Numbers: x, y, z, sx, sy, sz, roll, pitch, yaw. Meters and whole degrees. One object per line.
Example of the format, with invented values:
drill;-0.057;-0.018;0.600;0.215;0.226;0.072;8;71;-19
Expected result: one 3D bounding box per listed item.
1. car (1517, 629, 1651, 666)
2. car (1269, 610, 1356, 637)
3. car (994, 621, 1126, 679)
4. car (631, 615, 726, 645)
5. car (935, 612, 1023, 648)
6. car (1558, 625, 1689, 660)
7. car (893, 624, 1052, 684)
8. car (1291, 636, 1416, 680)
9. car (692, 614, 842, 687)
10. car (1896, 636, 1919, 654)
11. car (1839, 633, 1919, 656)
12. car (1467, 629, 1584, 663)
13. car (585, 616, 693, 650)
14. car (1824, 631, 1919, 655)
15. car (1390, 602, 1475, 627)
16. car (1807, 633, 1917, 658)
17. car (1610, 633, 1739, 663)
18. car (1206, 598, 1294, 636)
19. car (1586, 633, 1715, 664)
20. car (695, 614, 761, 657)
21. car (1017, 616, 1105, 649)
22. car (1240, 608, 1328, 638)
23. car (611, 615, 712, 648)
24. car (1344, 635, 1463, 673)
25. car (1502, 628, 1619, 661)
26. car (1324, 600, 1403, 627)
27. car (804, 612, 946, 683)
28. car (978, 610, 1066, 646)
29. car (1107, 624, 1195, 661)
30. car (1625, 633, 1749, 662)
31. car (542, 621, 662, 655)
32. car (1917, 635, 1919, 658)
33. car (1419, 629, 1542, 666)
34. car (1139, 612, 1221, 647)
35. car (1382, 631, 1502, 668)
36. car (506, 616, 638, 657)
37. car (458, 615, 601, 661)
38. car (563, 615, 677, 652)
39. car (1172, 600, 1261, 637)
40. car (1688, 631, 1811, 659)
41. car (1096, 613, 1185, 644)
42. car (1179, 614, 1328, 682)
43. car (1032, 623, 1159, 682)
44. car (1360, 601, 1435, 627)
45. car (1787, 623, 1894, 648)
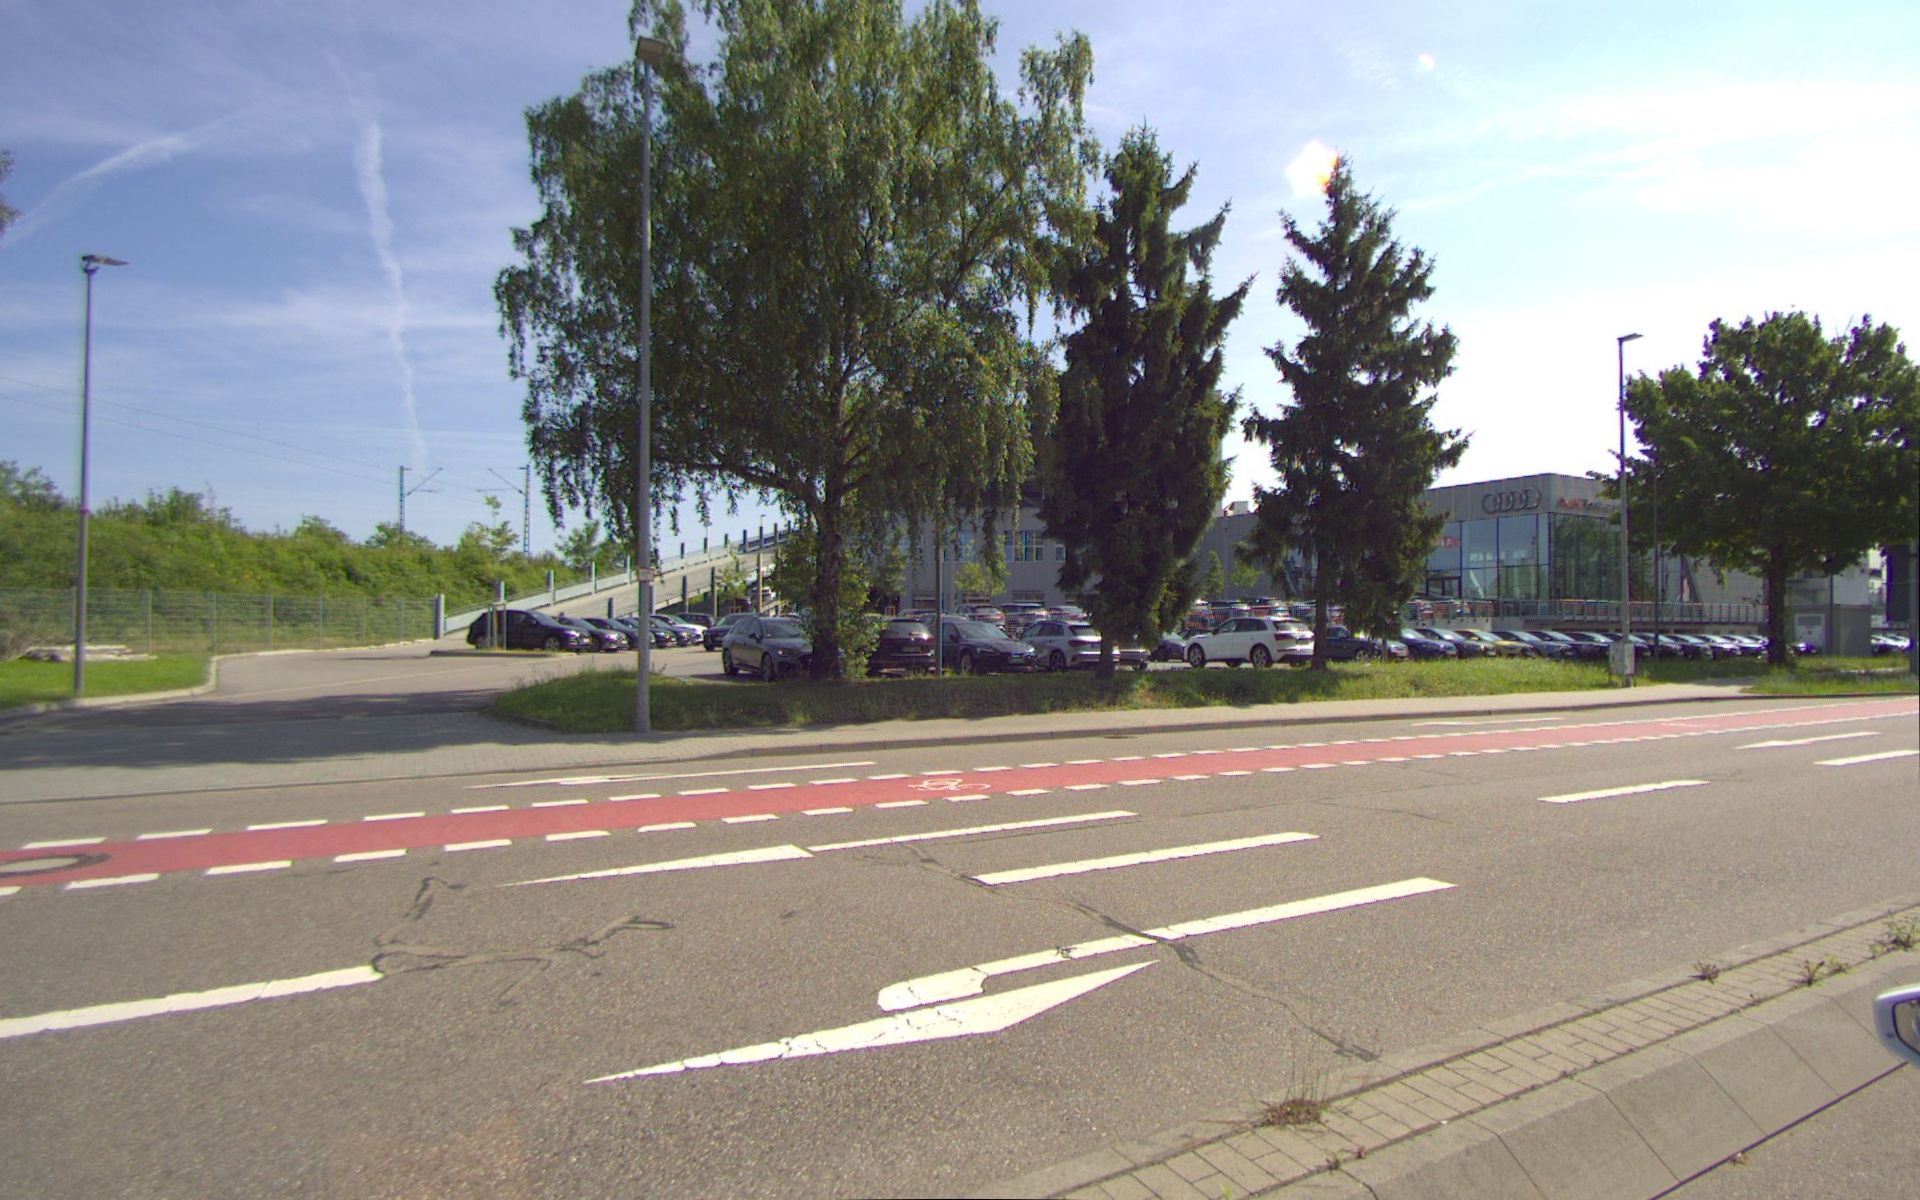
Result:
car;26.527;1.988;42.825;1.957;1.495;4.476;1;-2;-31
car;20.014;1.352;57.259;1.957;1.504;4.476;1;-2;-31
car;2.658;1.315;27.345;1.795;1.389;3.663;1;0;-30
car;-15.422;1.640;55.103;4.666;1.567;1.815;1;0;2
car;0.780;1.321;45.029;1.978;1.496;4.178;1;0;-33
car;29.219;1.849;44.354;1.898;1.495;4.476;1;-2;-31
car;0.192;1.333;26.078;1.976;1.285;4.829;1;0;-30
car;13.581;1.965;34.853;1.725;1.302;3.771;1;0;-31
car;-4.528;1.066;22.953;1.976;1.408;4.665;1;0;-30
car;60.843;2.715;62.077;1.678;1.047;4.088;1;-5;-31
car;54.797;2.605;59.155;1.933;1.205;4.154;1;-5;-31
car;22.419;1.839;39.933;1.844;1.302;3.576;1;-3;-31
car;-15.651;1.600;49.106;4.666;1.567;1.815;1;0;2
car;52.616;2.485;57.627;1.933;1.205;4.154;1;-5;-31
car;29.335;0.882;62.542;1.963;1.516;4.498;1;0;-30
car;50.512;2.573;56.326;2.064;1.171;4.154;1;-5;-31
car;32.995;2.172;46.506;1.898;1.307;4.476;1;-2;-31
car;15.649;0.962;54.503;1.957;1.988;4.476;1;-2;-31
car;31.261;2.163;45.608;1.898;1.307;4.476;1;-2;-31
car;-9.142;1.353;39.913;1.628;1.567;4.036;1;0;1
car;4.756;1.519;47.922;1.870;1.437;4.476;1;0;-31
car;17.954;1.282;55.860;1.957;1.571;4.476;1;-2;-31
car;-15.492;1.619;52.195;4.666;1.567;1.815;1;0;2
car;15.889;1.936;36.116;1.725;1.302;3.576;1;-3;-31
car;24.659;1.861;41.341;1.963;1.302;3.661;1;-3;-31
car;23.948;0.776;59.765;2.027;1.516;3.968;1;0;-30
car;-2.219;1.111;25.186;1.976;1.567;4.194;1;0;-30
car;2.826;1.257;46.303;1.978;1.496;4.178;1;0;-33
car;8.054;1.783;42.718;1.625;1.420;3.710;1;0;-31
car;34.373;2.206;47.631;1.673;1.307;4.476;1;-2;-31
car;-15.836;1.664;44.567;4.666;1.388;1.815;1;0;2
car;64.051;2.854;64.028;1.976;1.460;3.972;1;-5;-29
car;20.129;1.873;38.980;1.819;1.358;3.868;1;-3;-31
car;11.256;1.528;51.689;1.646;1.728;4.246;1;-2;-31
car;17.914;1.864;37.457;1.644;1.302;3.724;1;-3;-31
car;-16.116;1.502;41.881;4.666;1.545;2.001;1;0;2
car;-16.670;1.465;39.044;4.666;1.639;2.001;1;0;2
car;-15.743;1.541;46.676;4.666;1.567;1.815;1;0;2
car;13.531;1.014;53.184;1.957;1.839;4.476;1;-2;-31
car;39.254;2.216;50.040;1.898;1.307;4.476;1;-2;-31
car;9.062;1.460;50.810;1.957;1.504;4.476;1;-2;-31
car;9.137;1.432;31.671;1.975;1.900;4.444;1;0;-28
car;3.927;1.495;29.712;1.823;1.506;3.974;1;0;-26
car;26.634;0.825;61.270;1.648;1.516;3.968;1;0;-30
car;47.803;1.949;54.583;1.876;1.171;3.968;1;-5;-31
